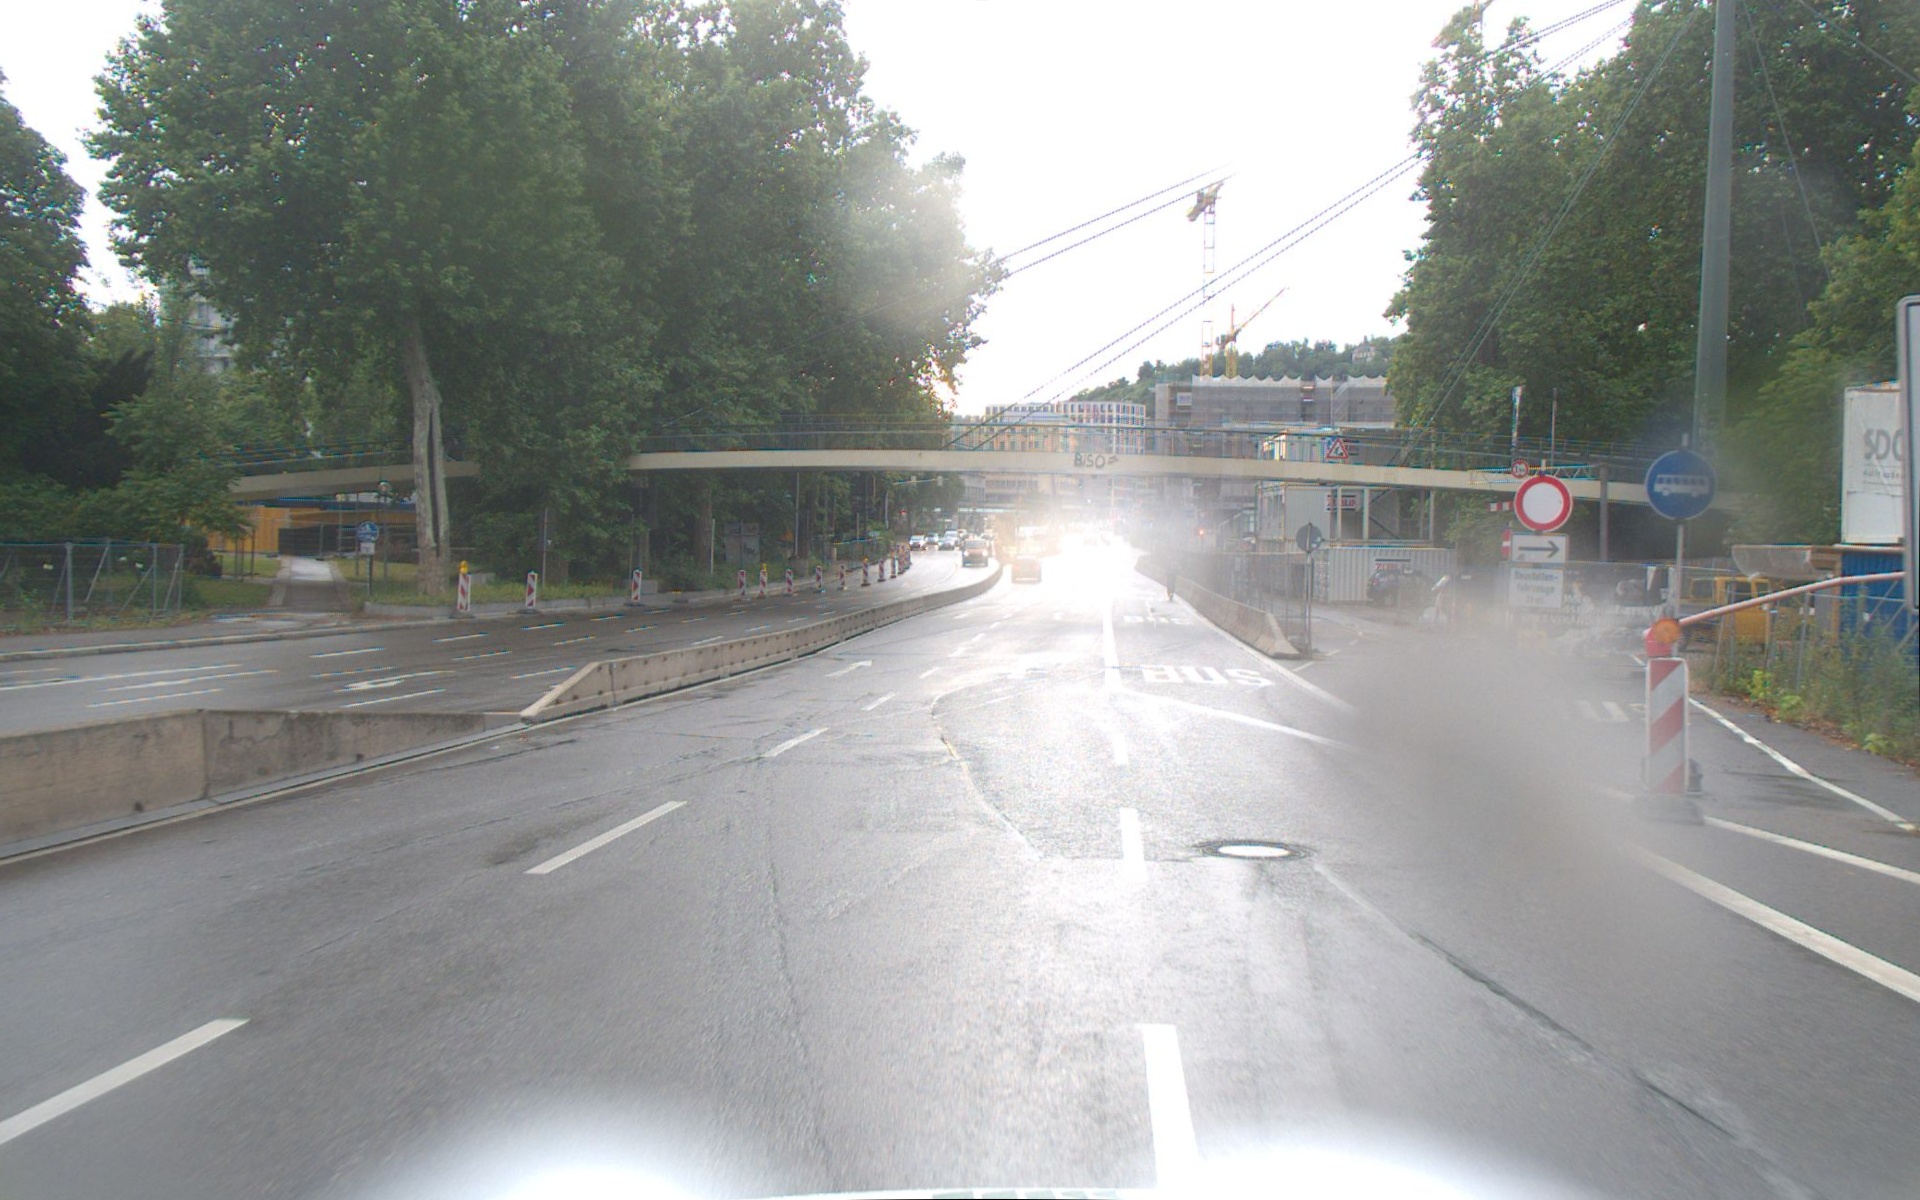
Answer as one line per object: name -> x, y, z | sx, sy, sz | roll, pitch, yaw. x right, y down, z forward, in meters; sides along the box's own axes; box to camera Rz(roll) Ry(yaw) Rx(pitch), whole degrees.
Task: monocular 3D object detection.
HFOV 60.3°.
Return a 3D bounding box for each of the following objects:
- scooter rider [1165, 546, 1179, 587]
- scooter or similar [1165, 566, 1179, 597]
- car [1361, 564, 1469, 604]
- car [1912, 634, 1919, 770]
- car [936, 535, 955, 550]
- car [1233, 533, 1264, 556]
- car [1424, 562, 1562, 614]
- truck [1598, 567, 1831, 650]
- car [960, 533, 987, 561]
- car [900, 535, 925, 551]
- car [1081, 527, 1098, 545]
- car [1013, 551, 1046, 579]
scooter rider -> 9.781, -1.549, 76.221 | 0.584, 1.816, 0.998 | 2, 2, 6
scooter or similar -> 9.782, -0.866, 76.259 | 0.584, 1.342, 1.669 | 2, 2, 6
car -> 20.719, -0.742, 75.393 | 4.448, 1.657, 1.789 | 1, 3, 2
car -> 11.613, 1.044, 16.475 | 1.814, 1.511, 3.997 | -1, -2, -2
car -> -1.571, -6.297, 180.798 | 1.679, 1.361, 4.058 | -6, 2, -5
car -> 27.310, -5.263, 156.691 | 1.873, 2.009, 5.163 | 1, 3, -1
car -> 19.551, -0.462, 60.790 | 4.407, 1.758, 2.000 | 1, 2, -1
truck -> 19.786, 0.205, 43.533 | 5.050, 2.049, 2.408 | 1, 0, -2
car -> 1.041, -4.054, 126.597 | 1.989, 1.970, 5.044 | -1, 0, 0
car -> -5.191, -6.211, 180.560 | 1.994, 1.681, 4.309 | 0, 3, -11
car -> 15.890, -7.805, 203.068 | 1.951, 2.049, 4.003 | -1, 0, 5
car -> 4.026, -2.038, 96.362 | 1.862, 1.554, 4.178 | -1, 0, 2
